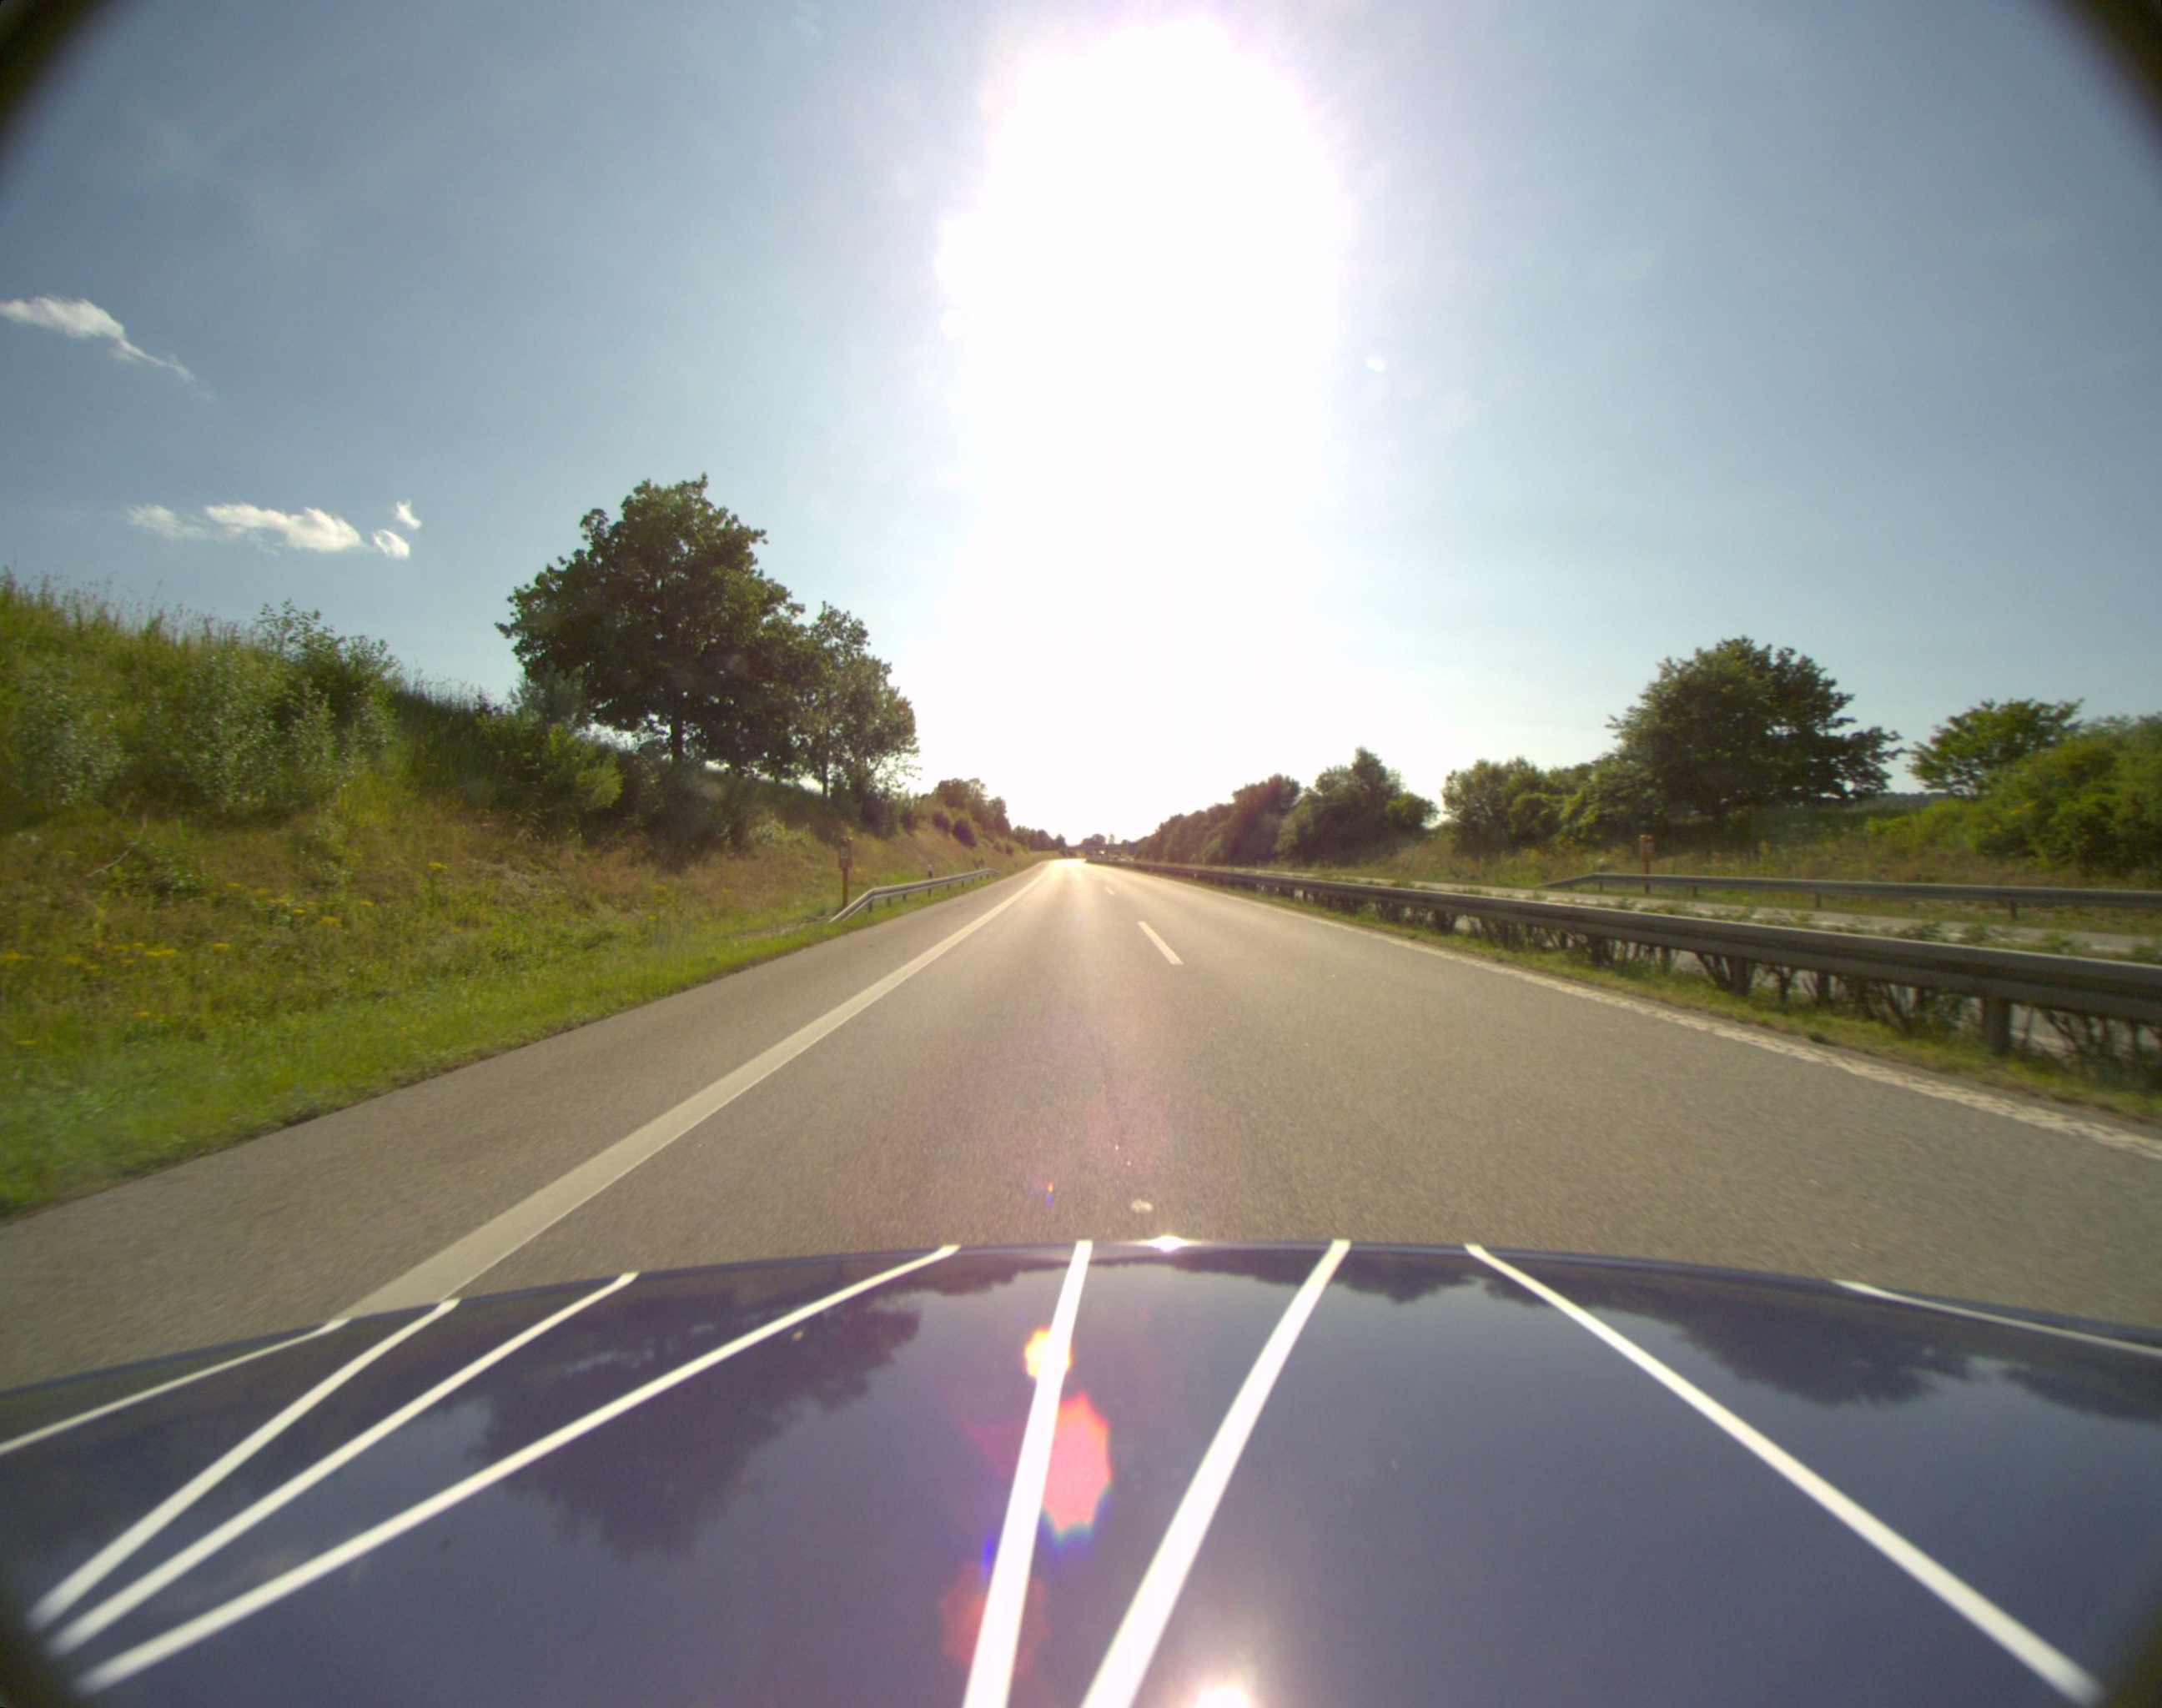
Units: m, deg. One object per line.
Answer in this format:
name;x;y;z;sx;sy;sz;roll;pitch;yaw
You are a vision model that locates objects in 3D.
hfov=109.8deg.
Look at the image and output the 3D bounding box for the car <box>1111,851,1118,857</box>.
car;9.643;-0.001;217.676;1.772;1.575;4.791;-1;1;-2
